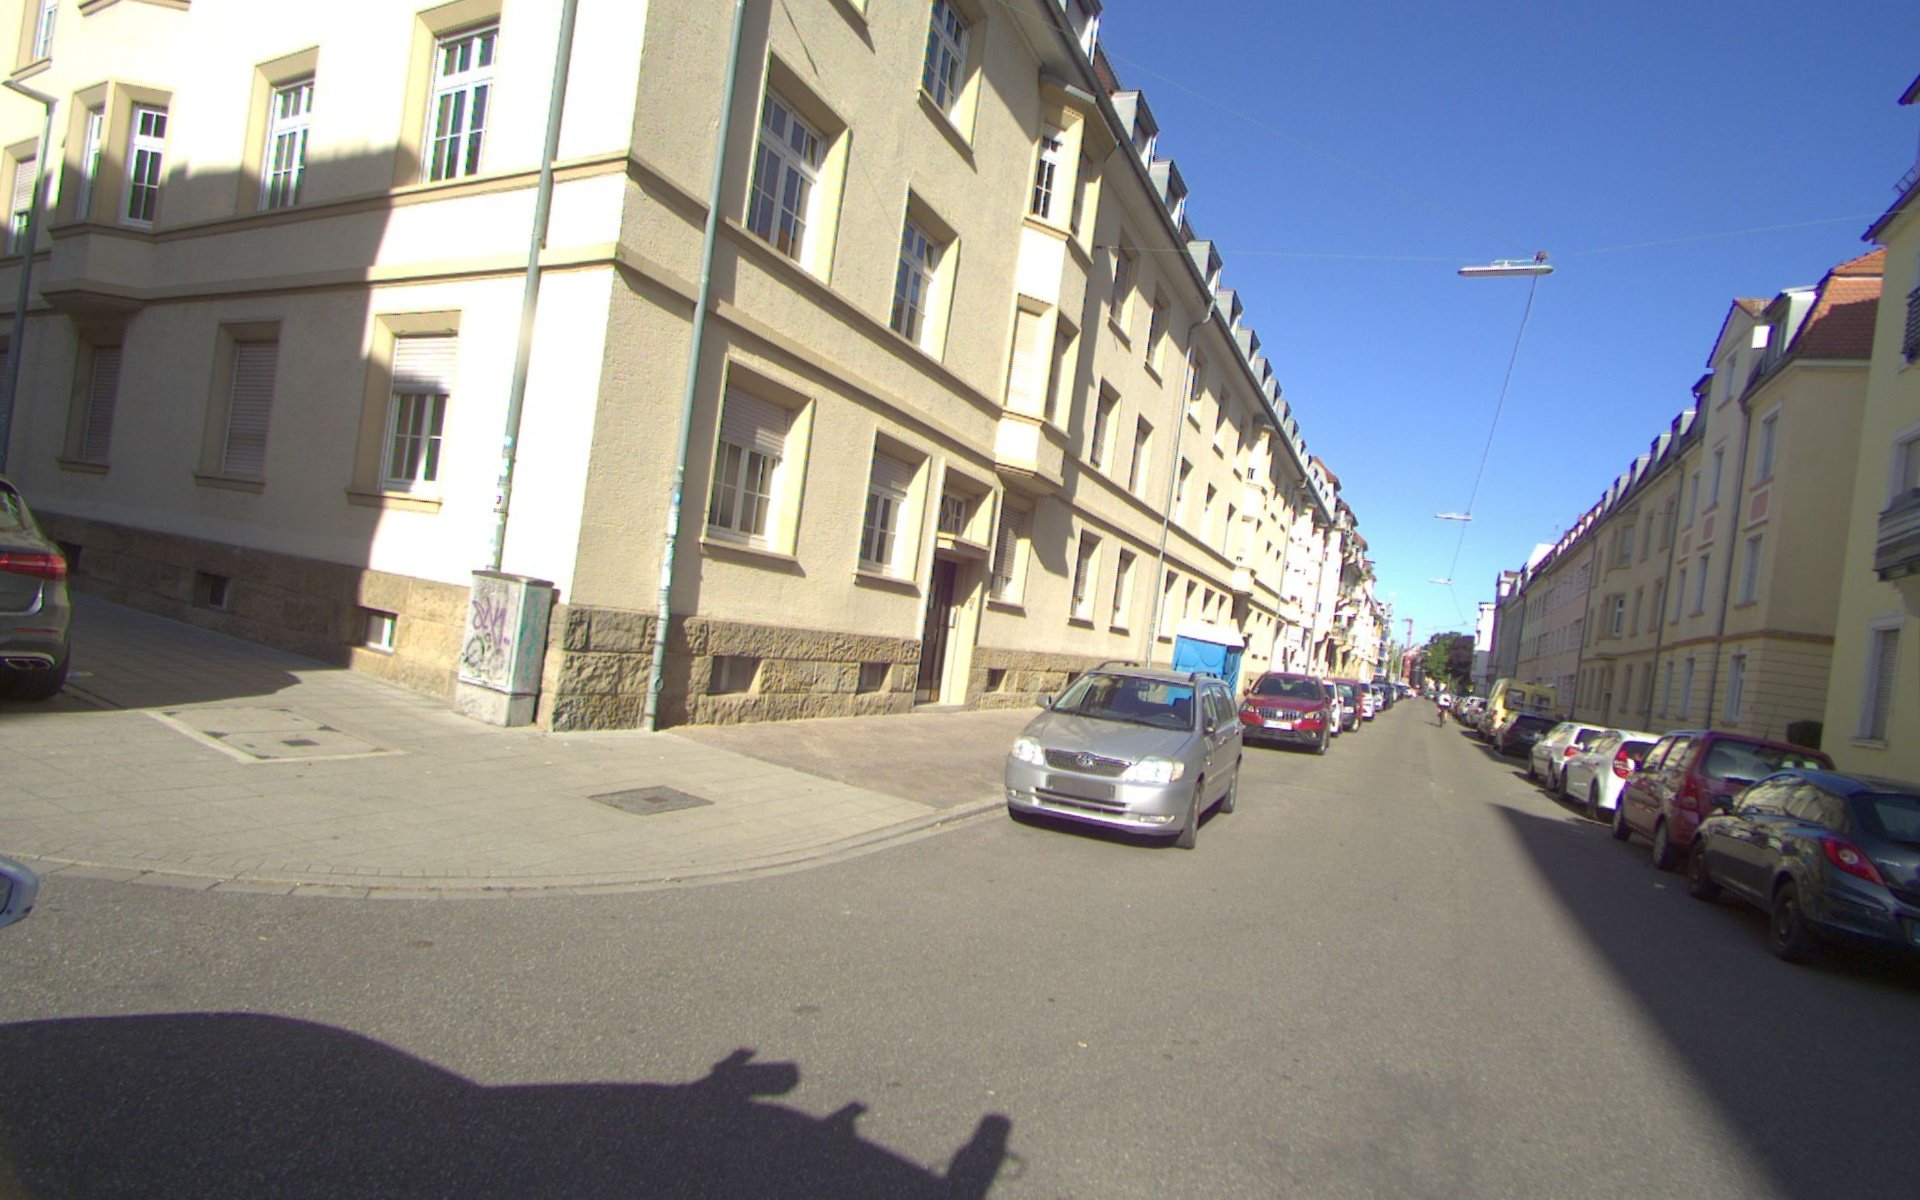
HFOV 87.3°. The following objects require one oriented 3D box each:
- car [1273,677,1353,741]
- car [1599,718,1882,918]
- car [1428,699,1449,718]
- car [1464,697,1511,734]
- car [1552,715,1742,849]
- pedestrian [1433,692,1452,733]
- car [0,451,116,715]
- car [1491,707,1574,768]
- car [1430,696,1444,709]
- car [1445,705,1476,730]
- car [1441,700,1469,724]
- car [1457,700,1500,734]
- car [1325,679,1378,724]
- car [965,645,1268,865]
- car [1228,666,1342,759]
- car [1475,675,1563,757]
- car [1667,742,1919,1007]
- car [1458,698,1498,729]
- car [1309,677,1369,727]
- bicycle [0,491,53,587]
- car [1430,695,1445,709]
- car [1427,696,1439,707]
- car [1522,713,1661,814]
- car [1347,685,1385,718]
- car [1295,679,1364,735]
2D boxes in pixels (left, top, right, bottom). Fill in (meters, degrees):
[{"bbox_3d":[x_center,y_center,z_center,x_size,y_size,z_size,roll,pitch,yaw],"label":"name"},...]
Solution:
[{"bbox_3d":[10.059,3.034,28.502,1.722,1.487,4.126,5,-2,24],"label":"car"},{"bbox_3d":[9.245,2.466,12.280,1.662,1.618,3.634,10,0,24],"label":"car"},{"bbox_3d":[50.837,11.553,106.946,1.662,1.623,3.867,10,0,24],"label":"car"},{"bbox_3d":[27.021,5.889,51.610,1.662,1.450,3.867,10,0,24],"label":"car"},{"bbox_3d":[11.071,2.844,16.505,1.662,1.488,3.867,10,0,24],"label":"car"},{"bbox_3d":[21.478,4.979,44.768,0.522,1.737,0.610,8,0,24],"label":"pedestrian"},{"bbox_3d":[-8.255,-0.342,7.272,4.695,1.665,1.915,6,0,33],"label":"car"},{"bbox_3d":[18.149,4.314,32.051,1.662,1.450,3.867,10,0,24],"label":"car"},{"bbox_3d":[75.263,16.193,158.820,1.662,1.623,3.867,10,0,24],"label":"car"},{"bbox_3d":[37.389,8.755,75.171,1.662,1.450,3.867,10,0,24],"label":"car"},{"bbox_3d":[41.193,9.297,83.851,1.662,1.623,3.867,10,0,24],"label":"car"},{"bbox_3d":[28.918,6.490,56.211,1.662,1.450,3.867,10,0,24],"label":"car"},{"bbox_3d":[16.115,4.138,41.303,1.721,1.546,4.126,6,-2,24],"label":"car"},{"bbox_3d":[1.835,1.378,10.130,1.795,1.485,4.552,6,-2,24],"label":"car"},{"bbox_3d":[7.158,2.376,21.860,1.795,1.572,4.552,6,-2,24],"label":"car"},{"bbox_3d":[20.488,4.186,37.092,1.990,2.472,4.928,10,0,24],"label":"car"},{"bbox_3d":[7.473,2.191,8.391,1.662,1.485,3.634,10,0,24],"label":"car"},{"bbox_3d":[31.141,6.826,60.562,1.662,1.450,3.867,10,0,24],"label":"car"},{"bbox_3d":[14.013,3.726,37.097,1.721,1.546,4.126,6,-2,24],"label":"car"},{"bbox_3d":[-14.467,-1.005,14.856,2.548,1.261,0.763,8,0,30],"label":"bicycle"},{"bbox_3d":[68.268,14.613,143.854,1.662,1.623,3.867,10,0,24],"label":"car"},{"bbox_3d":[83.898,17.953,178.478,1.662,1.623,3.867,10,0,24],"label":"car"},{"bbox_3d":[12.905,3.279,20.795,1.662,1.450,3.867,10,0,24],"label":"car"},{"bbox_3d":[22.706,5.649,56.195,1.721,1.546,4.126,6,-2,24],"label":"car"},{"bbox_3d":[11.989,3.409,32.476,1.721,1.487,4.126,6,-2,24],"label":"car"}]
